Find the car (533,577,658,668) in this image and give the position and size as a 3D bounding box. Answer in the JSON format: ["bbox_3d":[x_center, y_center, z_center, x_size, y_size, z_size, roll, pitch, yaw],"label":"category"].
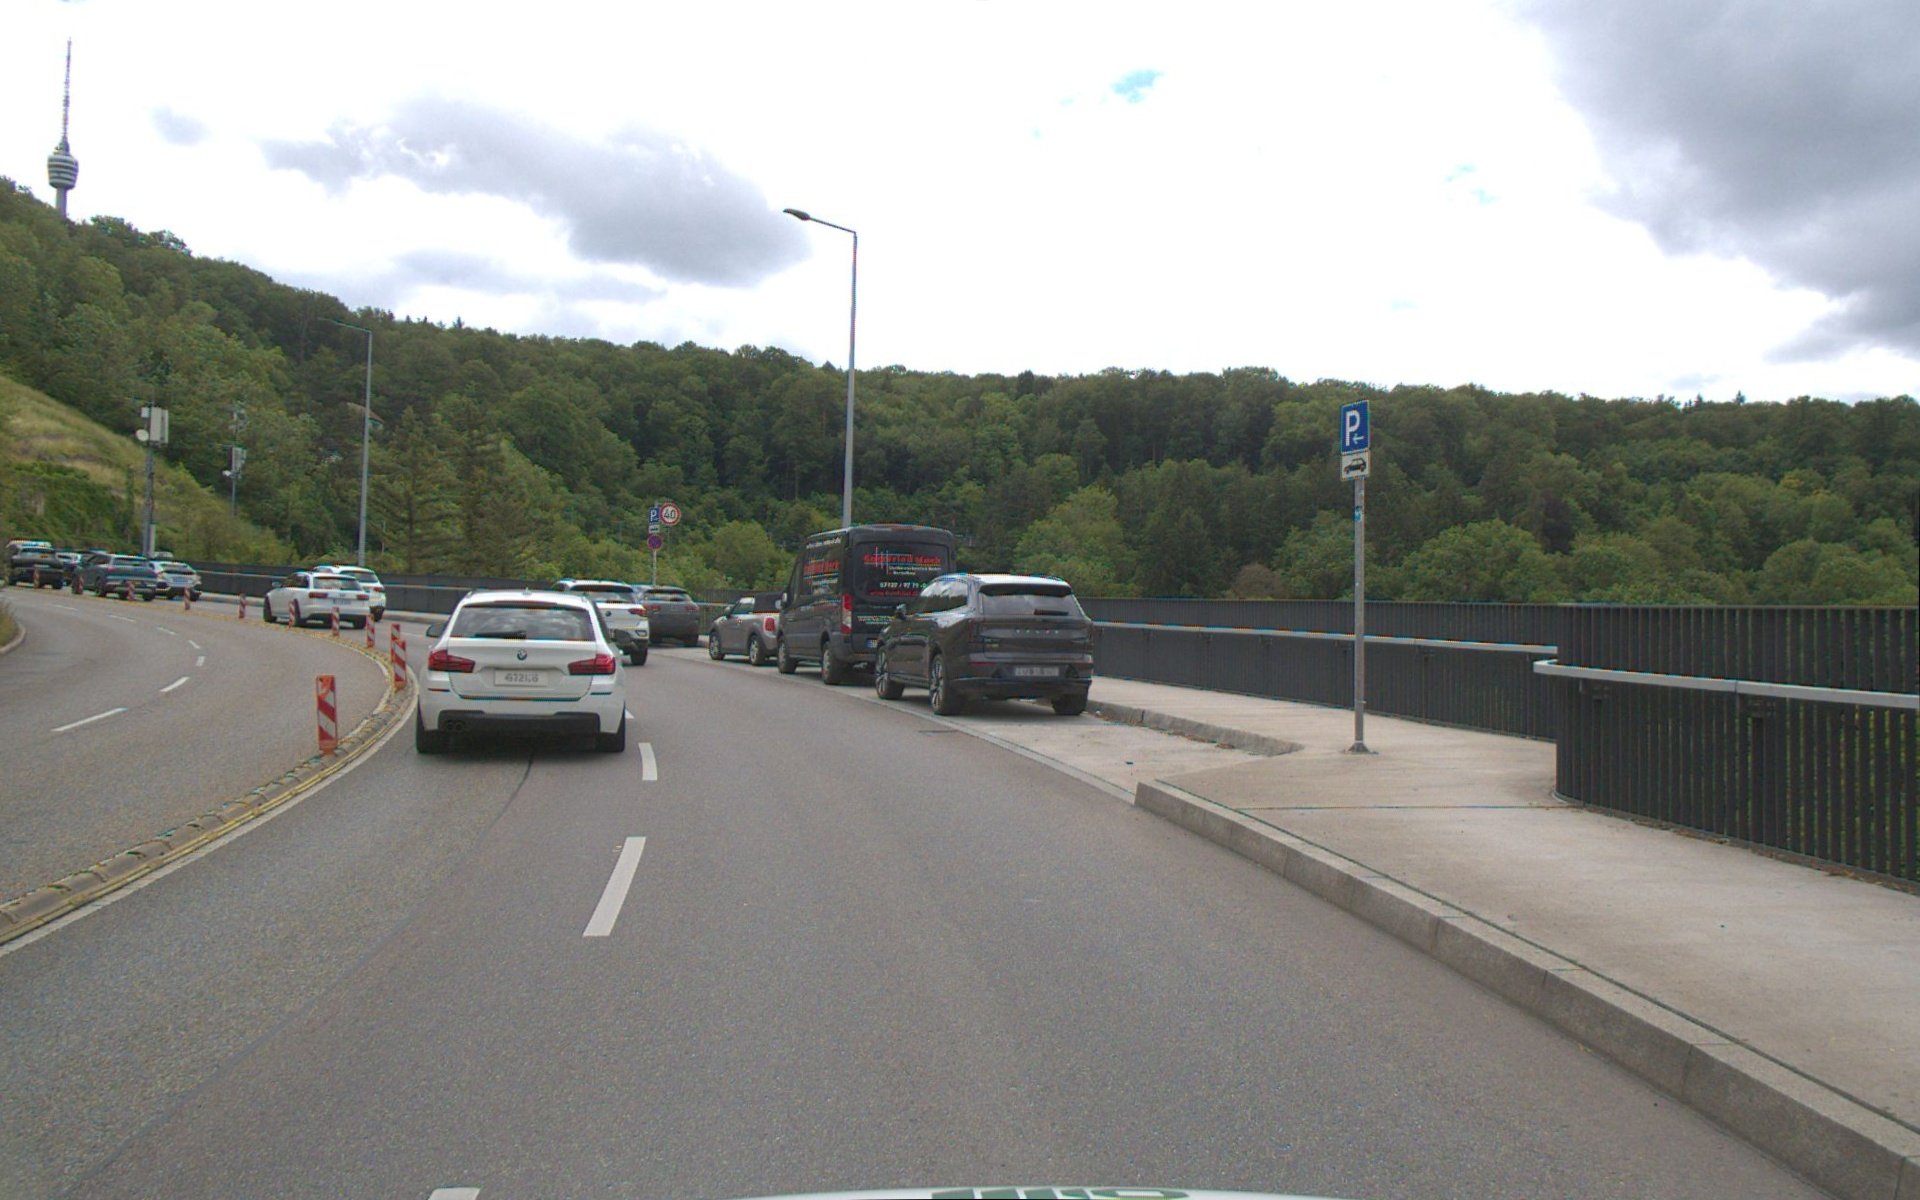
[{"bbox_3d":[-7.172,0.427,32.261,1.802,1.634,3.974,-1,0,-21],"label":"car"}]

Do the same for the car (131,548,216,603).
[{"bbox_3d":[-30.158,-0.908,63.406,1.982,2.049,3.940,1,0,-41],"label":"car"}]

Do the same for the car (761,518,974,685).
[{"bbox_3d":[-1.740,-0.036,28.514,2.134,2.565,5.738,-1,1,-20],"label":"car"}]

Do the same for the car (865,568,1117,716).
[{"bbox_3d":[0.258,0.497,22.188,1.962,1.748,5.026,0,0,-17],"label":"car"}]

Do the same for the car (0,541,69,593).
[{"bbox_3d":[-37.456,-1.298,66.837,1.857,1.793,3.944,3,-4,-38],"label":"car"}]

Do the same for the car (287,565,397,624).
[{"bbox_3d":[-19.432,-0.150,51.916,1.982,1.748,4.053,-1,0,-40],"label":"car"}]

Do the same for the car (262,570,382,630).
[{"bbox_3d":[-17.571,0.021,45.432,1.978,1.529,4.608,-1,0,-36],"label":"car"}]

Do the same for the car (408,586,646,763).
[{"bbox_3d":[-4.085,0.627,16.248,1.794,1.485,4.476,1,0,-9],"label":"car"}]

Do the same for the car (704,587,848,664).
[{"bbox_3d":[-3.829,0.493,33.925,1.694,1.456,3.817,1,0,-27],"label":"car"}]

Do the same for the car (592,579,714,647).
[{"bbox_3d":[-7.912,0.301,42.373,1.854,1.570,4.050,3,0,-29],"label":"car"}]

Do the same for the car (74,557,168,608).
[{"bbox_3d":[-29.562,-0.616,58.231,1.983,1.677,3.938,-1,0,-42],"label":"car"}]
